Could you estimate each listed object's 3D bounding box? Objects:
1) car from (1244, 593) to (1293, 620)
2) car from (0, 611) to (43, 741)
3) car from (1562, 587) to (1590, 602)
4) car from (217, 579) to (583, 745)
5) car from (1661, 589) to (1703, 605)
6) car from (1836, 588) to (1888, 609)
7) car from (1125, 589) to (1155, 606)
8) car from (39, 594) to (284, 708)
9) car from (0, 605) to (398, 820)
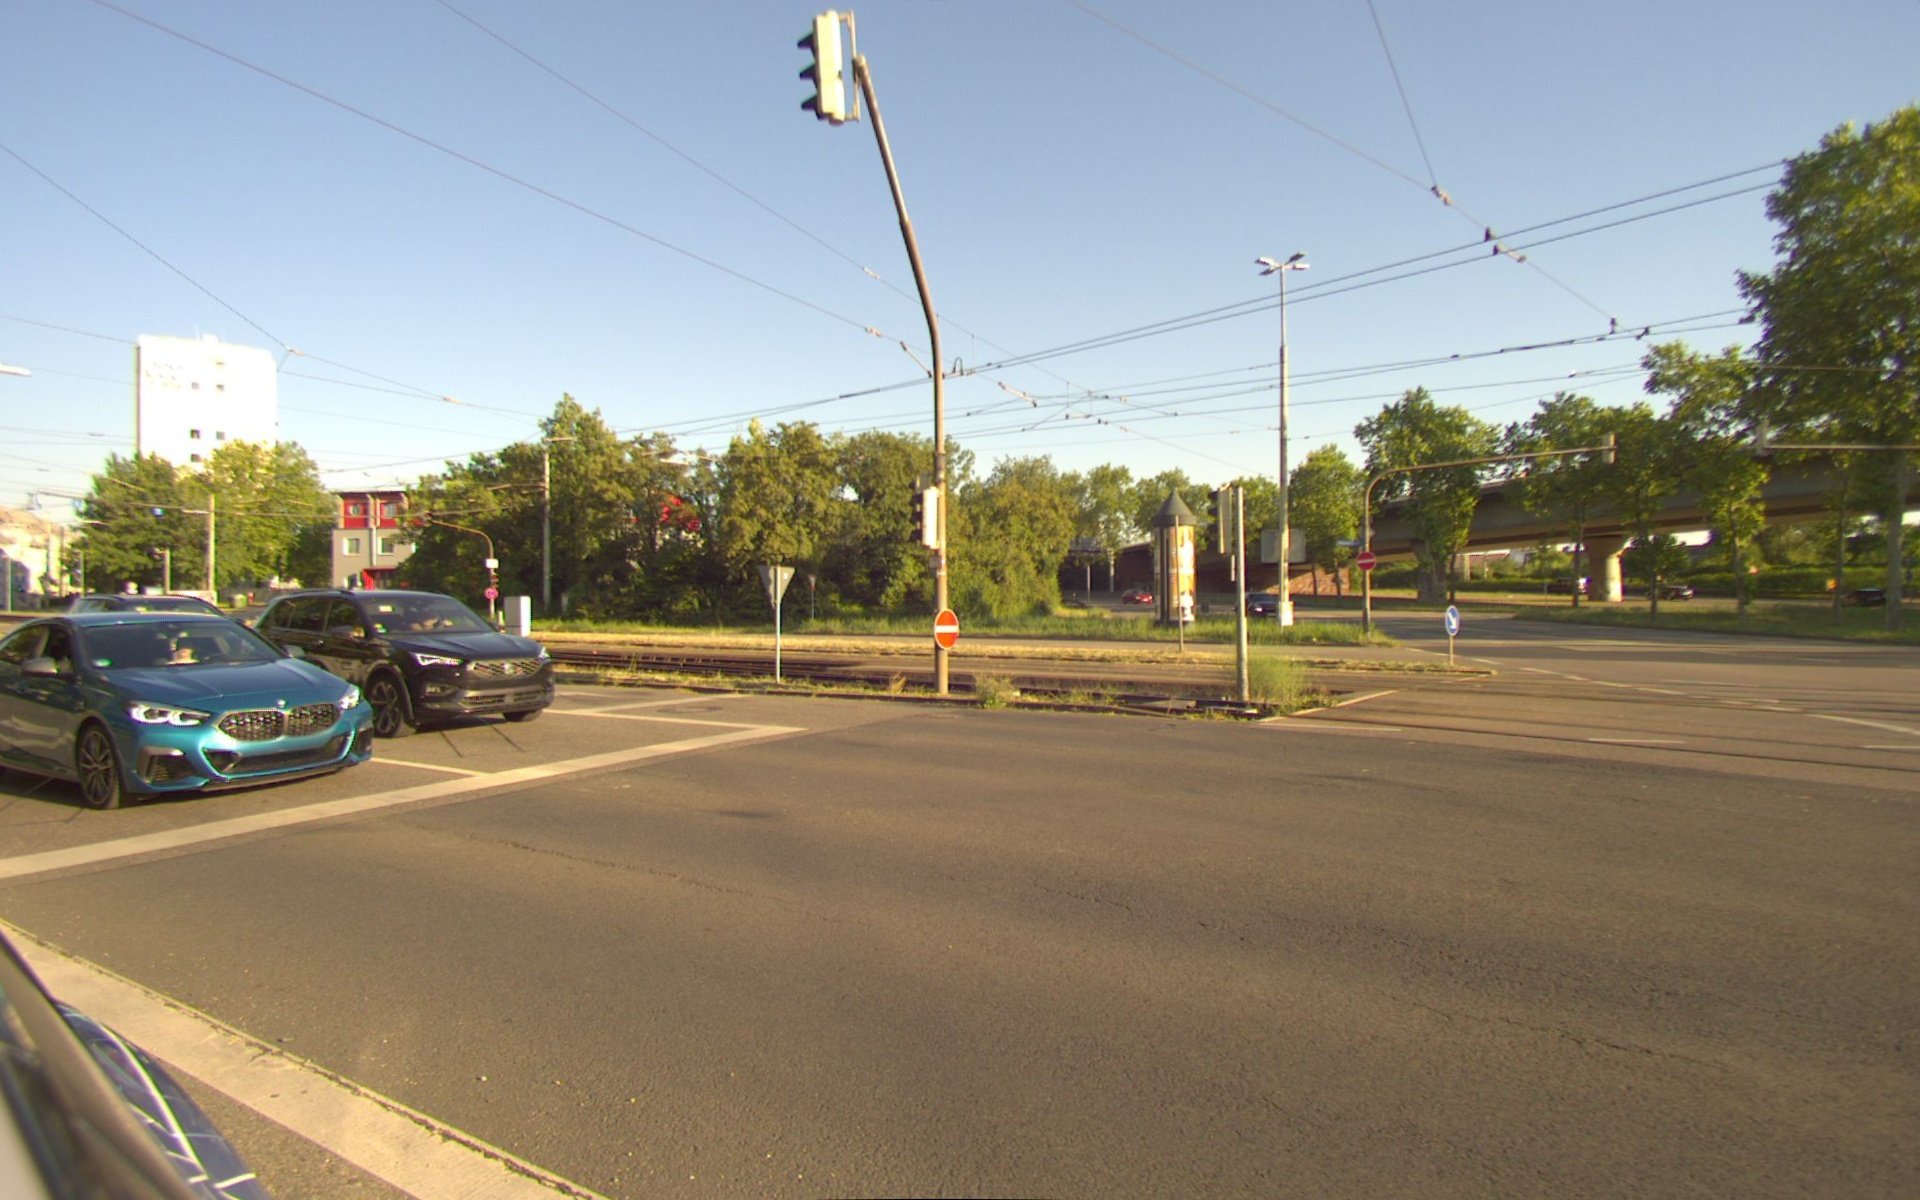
[{"bbox_3d":[18.196,0.393,59.813,1.975,1.497,3.993,-1,-1,5],"label":"car"},{"bbox_3d":[-12.602,0.864,11.904,3.910,1.441,1.649,0,0,31],"label":"car"},{"bbox_3d":[71.461,-0.689,117.469,1.985,1.635,4.504,0,1,21],"label":"car"},{"bbox_3d":[-6.913,0.646,12.371,4.585,1.694,1.902,0,0,31],"label":"car"},{"bbox_3d":[70.854,-0.287,99.387,1.983,1.465,4.509,0,1,17],"label":"car"},{"bbox_3d":[64.638,-0.116,72.593,1.686,1.433,3.705,0,0,23],"label":"car"},{"bbox_3d":[17.893,-0.243,100.697,1.970,1.497,4.003,-1,-1,-3],"label":"car"},{"bbox_3d":[-13.300,0.751,16.772,4.589,1.661,1.900,0,0,34],"label":"car"},{"bbox_3d":[-7.001,0.768,8.664,4.494,1.428,1.772,0,0,30],"label":"car"}]
